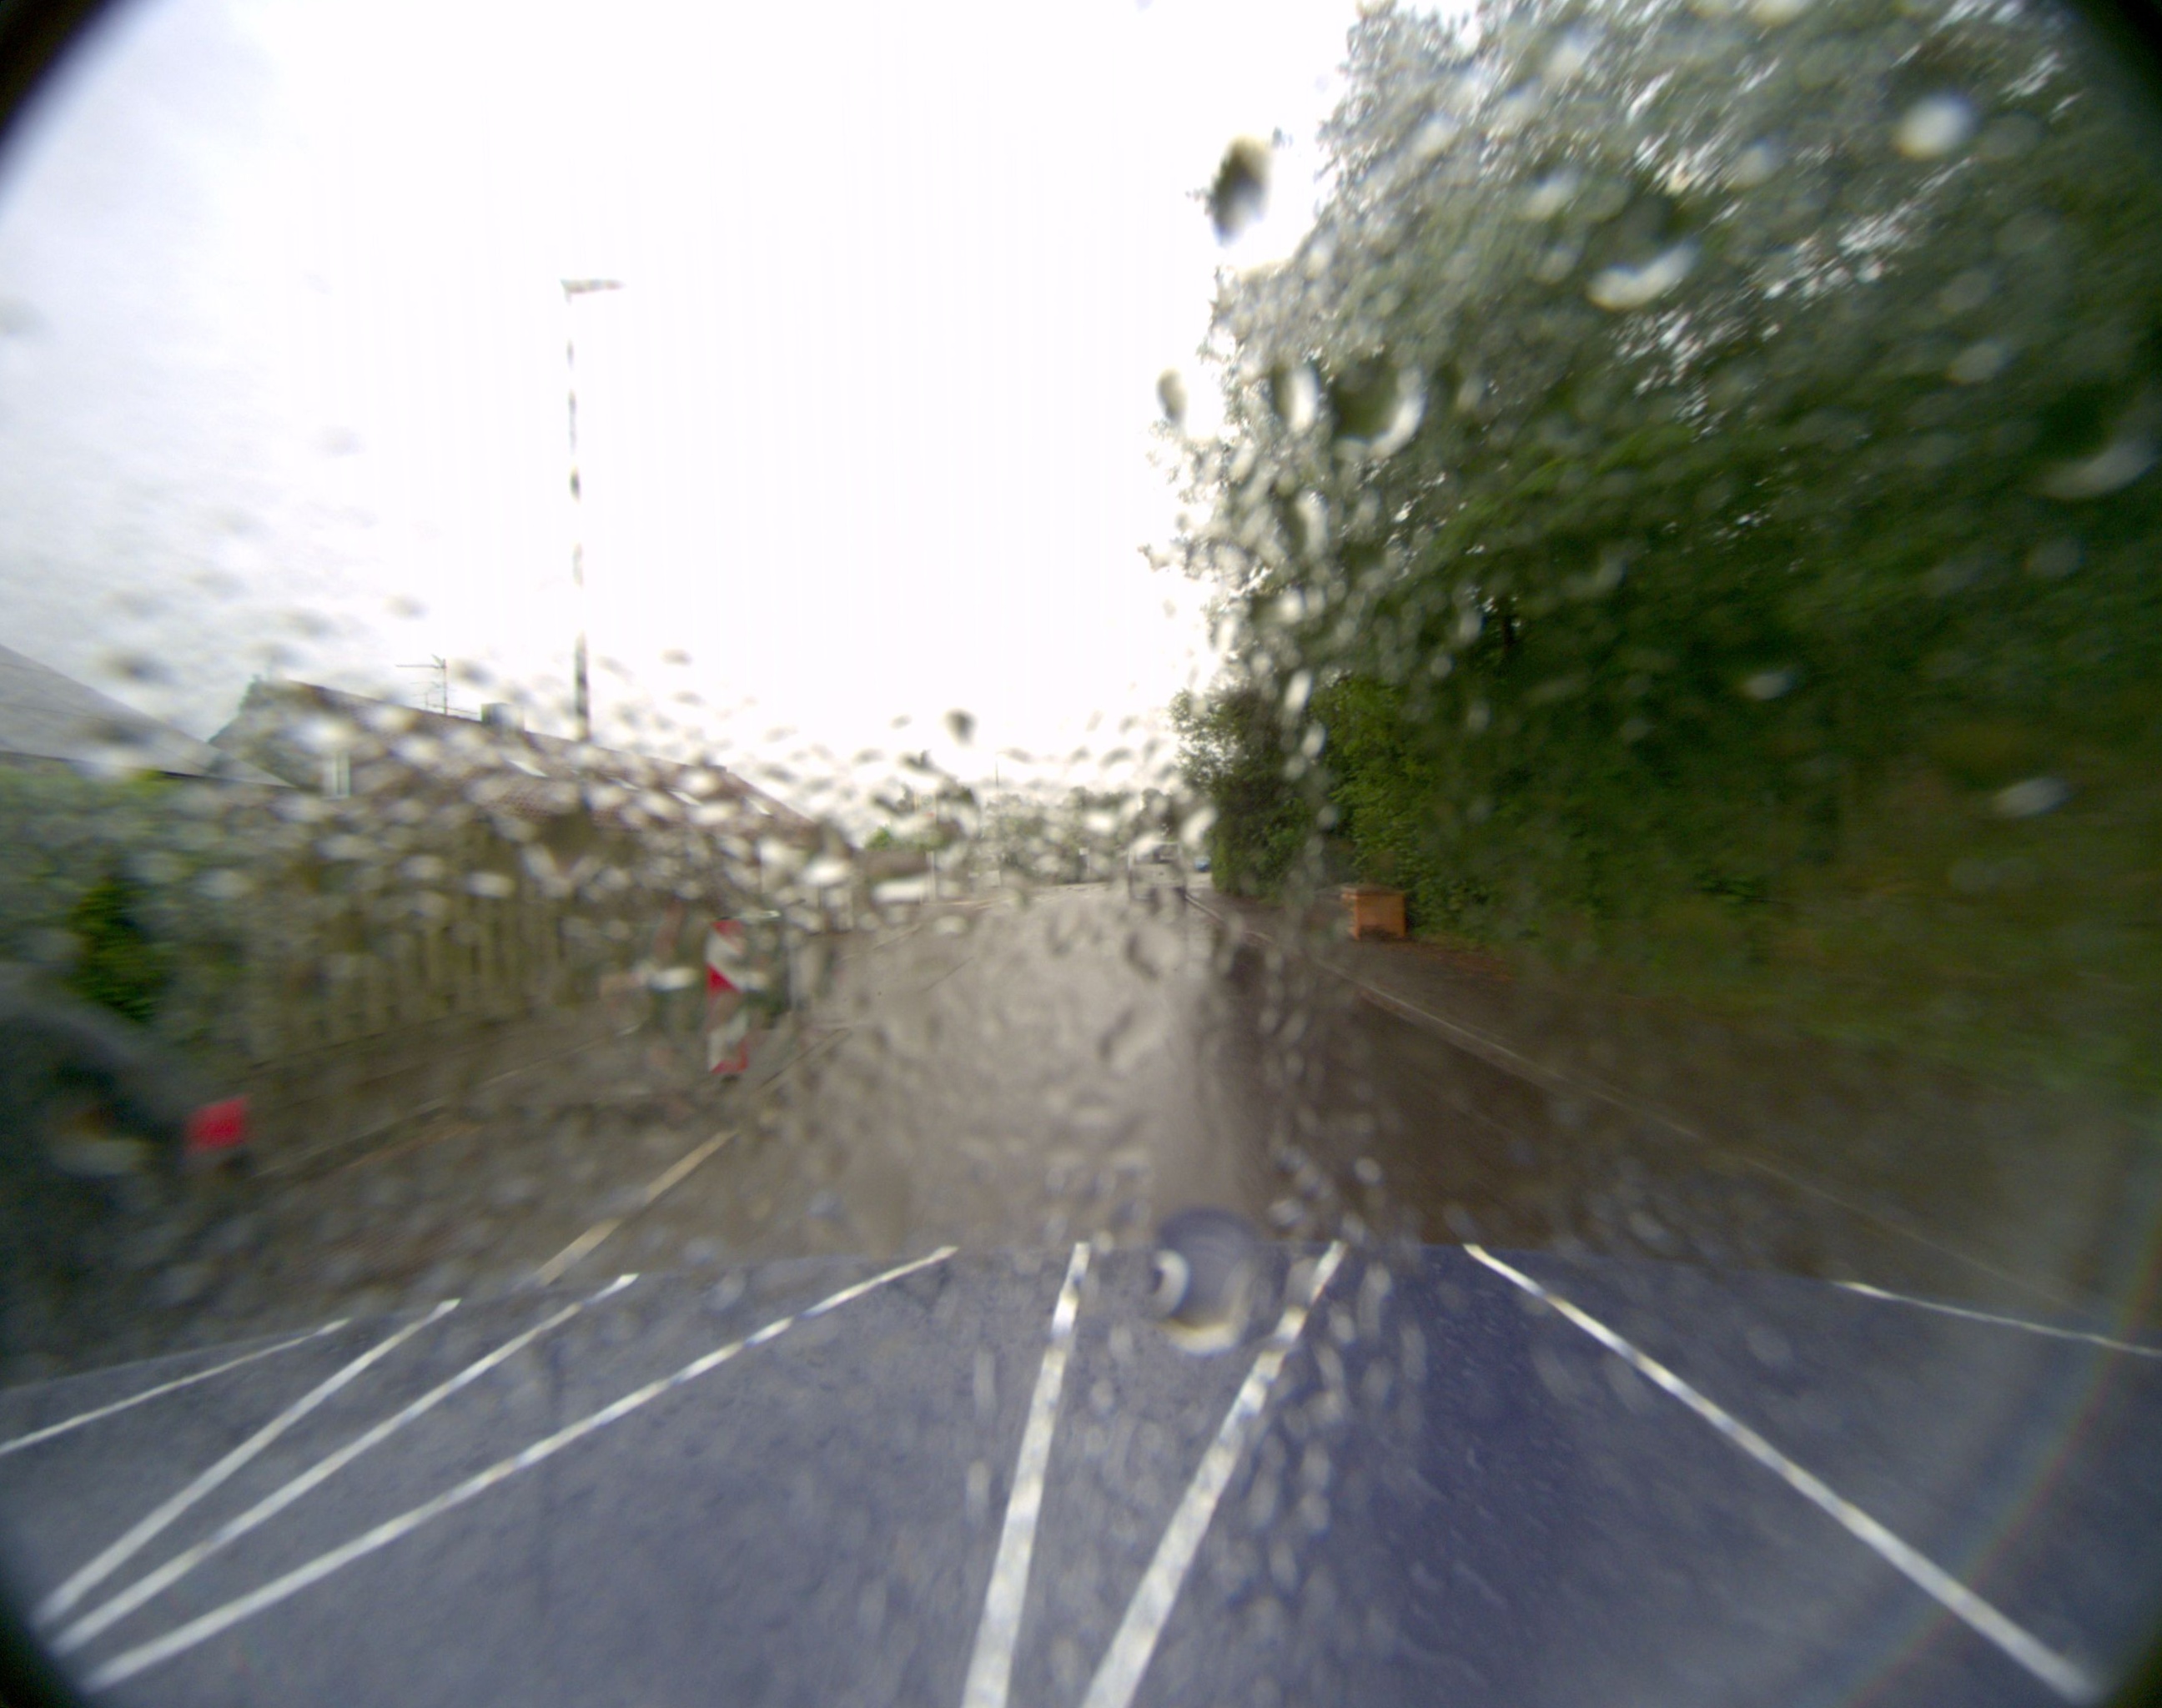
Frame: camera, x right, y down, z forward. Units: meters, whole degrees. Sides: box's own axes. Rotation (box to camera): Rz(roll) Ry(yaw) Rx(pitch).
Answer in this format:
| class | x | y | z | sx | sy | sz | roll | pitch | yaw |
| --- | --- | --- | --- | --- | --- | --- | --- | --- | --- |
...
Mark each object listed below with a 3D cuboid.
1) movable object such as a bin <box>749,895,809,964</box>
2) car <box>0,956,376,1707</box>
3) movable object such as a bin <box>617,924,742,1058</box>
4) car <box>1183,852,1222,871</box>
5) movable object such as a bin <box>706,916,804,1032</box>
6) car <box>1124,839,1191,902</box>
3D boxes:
| class | x | y | z | sx | sy | sz | roll | pitch | yaw |
| --- | --- | --- | --- | --- | --- | --- | --- | --- | --- |
| movable object such as a bin | -5.041 | 1.246 | 12.690 | 0.740 | 1.082 | 0.600 | 0 | 0 | 4 |
| car | -3.063 | 1.064 | 0.136 | 1.760 | 1.453 | 4.301 | -3 | 0 | 1 |
| movable object such as a bin | -3.607 | 1.211 | 6.882 | 0.731 | 1.072 | 0.661 | -3 | 0 | -1 |
| car | 10.926 | 0.660 | 67.954 | 1.796 | 1.460 | 4.224 | -3 | 0 | 34 |
| movable object such as a bin | -3.419 | 1.242 | 8.026 | 0.717 | 1.089 | 0.656 | -3 | 0 | -3 |
| car | 2.660 | 0.549 | 27.055 | 2.116 | 1.963 | 5.174 | -2 | 0 | 4 |
